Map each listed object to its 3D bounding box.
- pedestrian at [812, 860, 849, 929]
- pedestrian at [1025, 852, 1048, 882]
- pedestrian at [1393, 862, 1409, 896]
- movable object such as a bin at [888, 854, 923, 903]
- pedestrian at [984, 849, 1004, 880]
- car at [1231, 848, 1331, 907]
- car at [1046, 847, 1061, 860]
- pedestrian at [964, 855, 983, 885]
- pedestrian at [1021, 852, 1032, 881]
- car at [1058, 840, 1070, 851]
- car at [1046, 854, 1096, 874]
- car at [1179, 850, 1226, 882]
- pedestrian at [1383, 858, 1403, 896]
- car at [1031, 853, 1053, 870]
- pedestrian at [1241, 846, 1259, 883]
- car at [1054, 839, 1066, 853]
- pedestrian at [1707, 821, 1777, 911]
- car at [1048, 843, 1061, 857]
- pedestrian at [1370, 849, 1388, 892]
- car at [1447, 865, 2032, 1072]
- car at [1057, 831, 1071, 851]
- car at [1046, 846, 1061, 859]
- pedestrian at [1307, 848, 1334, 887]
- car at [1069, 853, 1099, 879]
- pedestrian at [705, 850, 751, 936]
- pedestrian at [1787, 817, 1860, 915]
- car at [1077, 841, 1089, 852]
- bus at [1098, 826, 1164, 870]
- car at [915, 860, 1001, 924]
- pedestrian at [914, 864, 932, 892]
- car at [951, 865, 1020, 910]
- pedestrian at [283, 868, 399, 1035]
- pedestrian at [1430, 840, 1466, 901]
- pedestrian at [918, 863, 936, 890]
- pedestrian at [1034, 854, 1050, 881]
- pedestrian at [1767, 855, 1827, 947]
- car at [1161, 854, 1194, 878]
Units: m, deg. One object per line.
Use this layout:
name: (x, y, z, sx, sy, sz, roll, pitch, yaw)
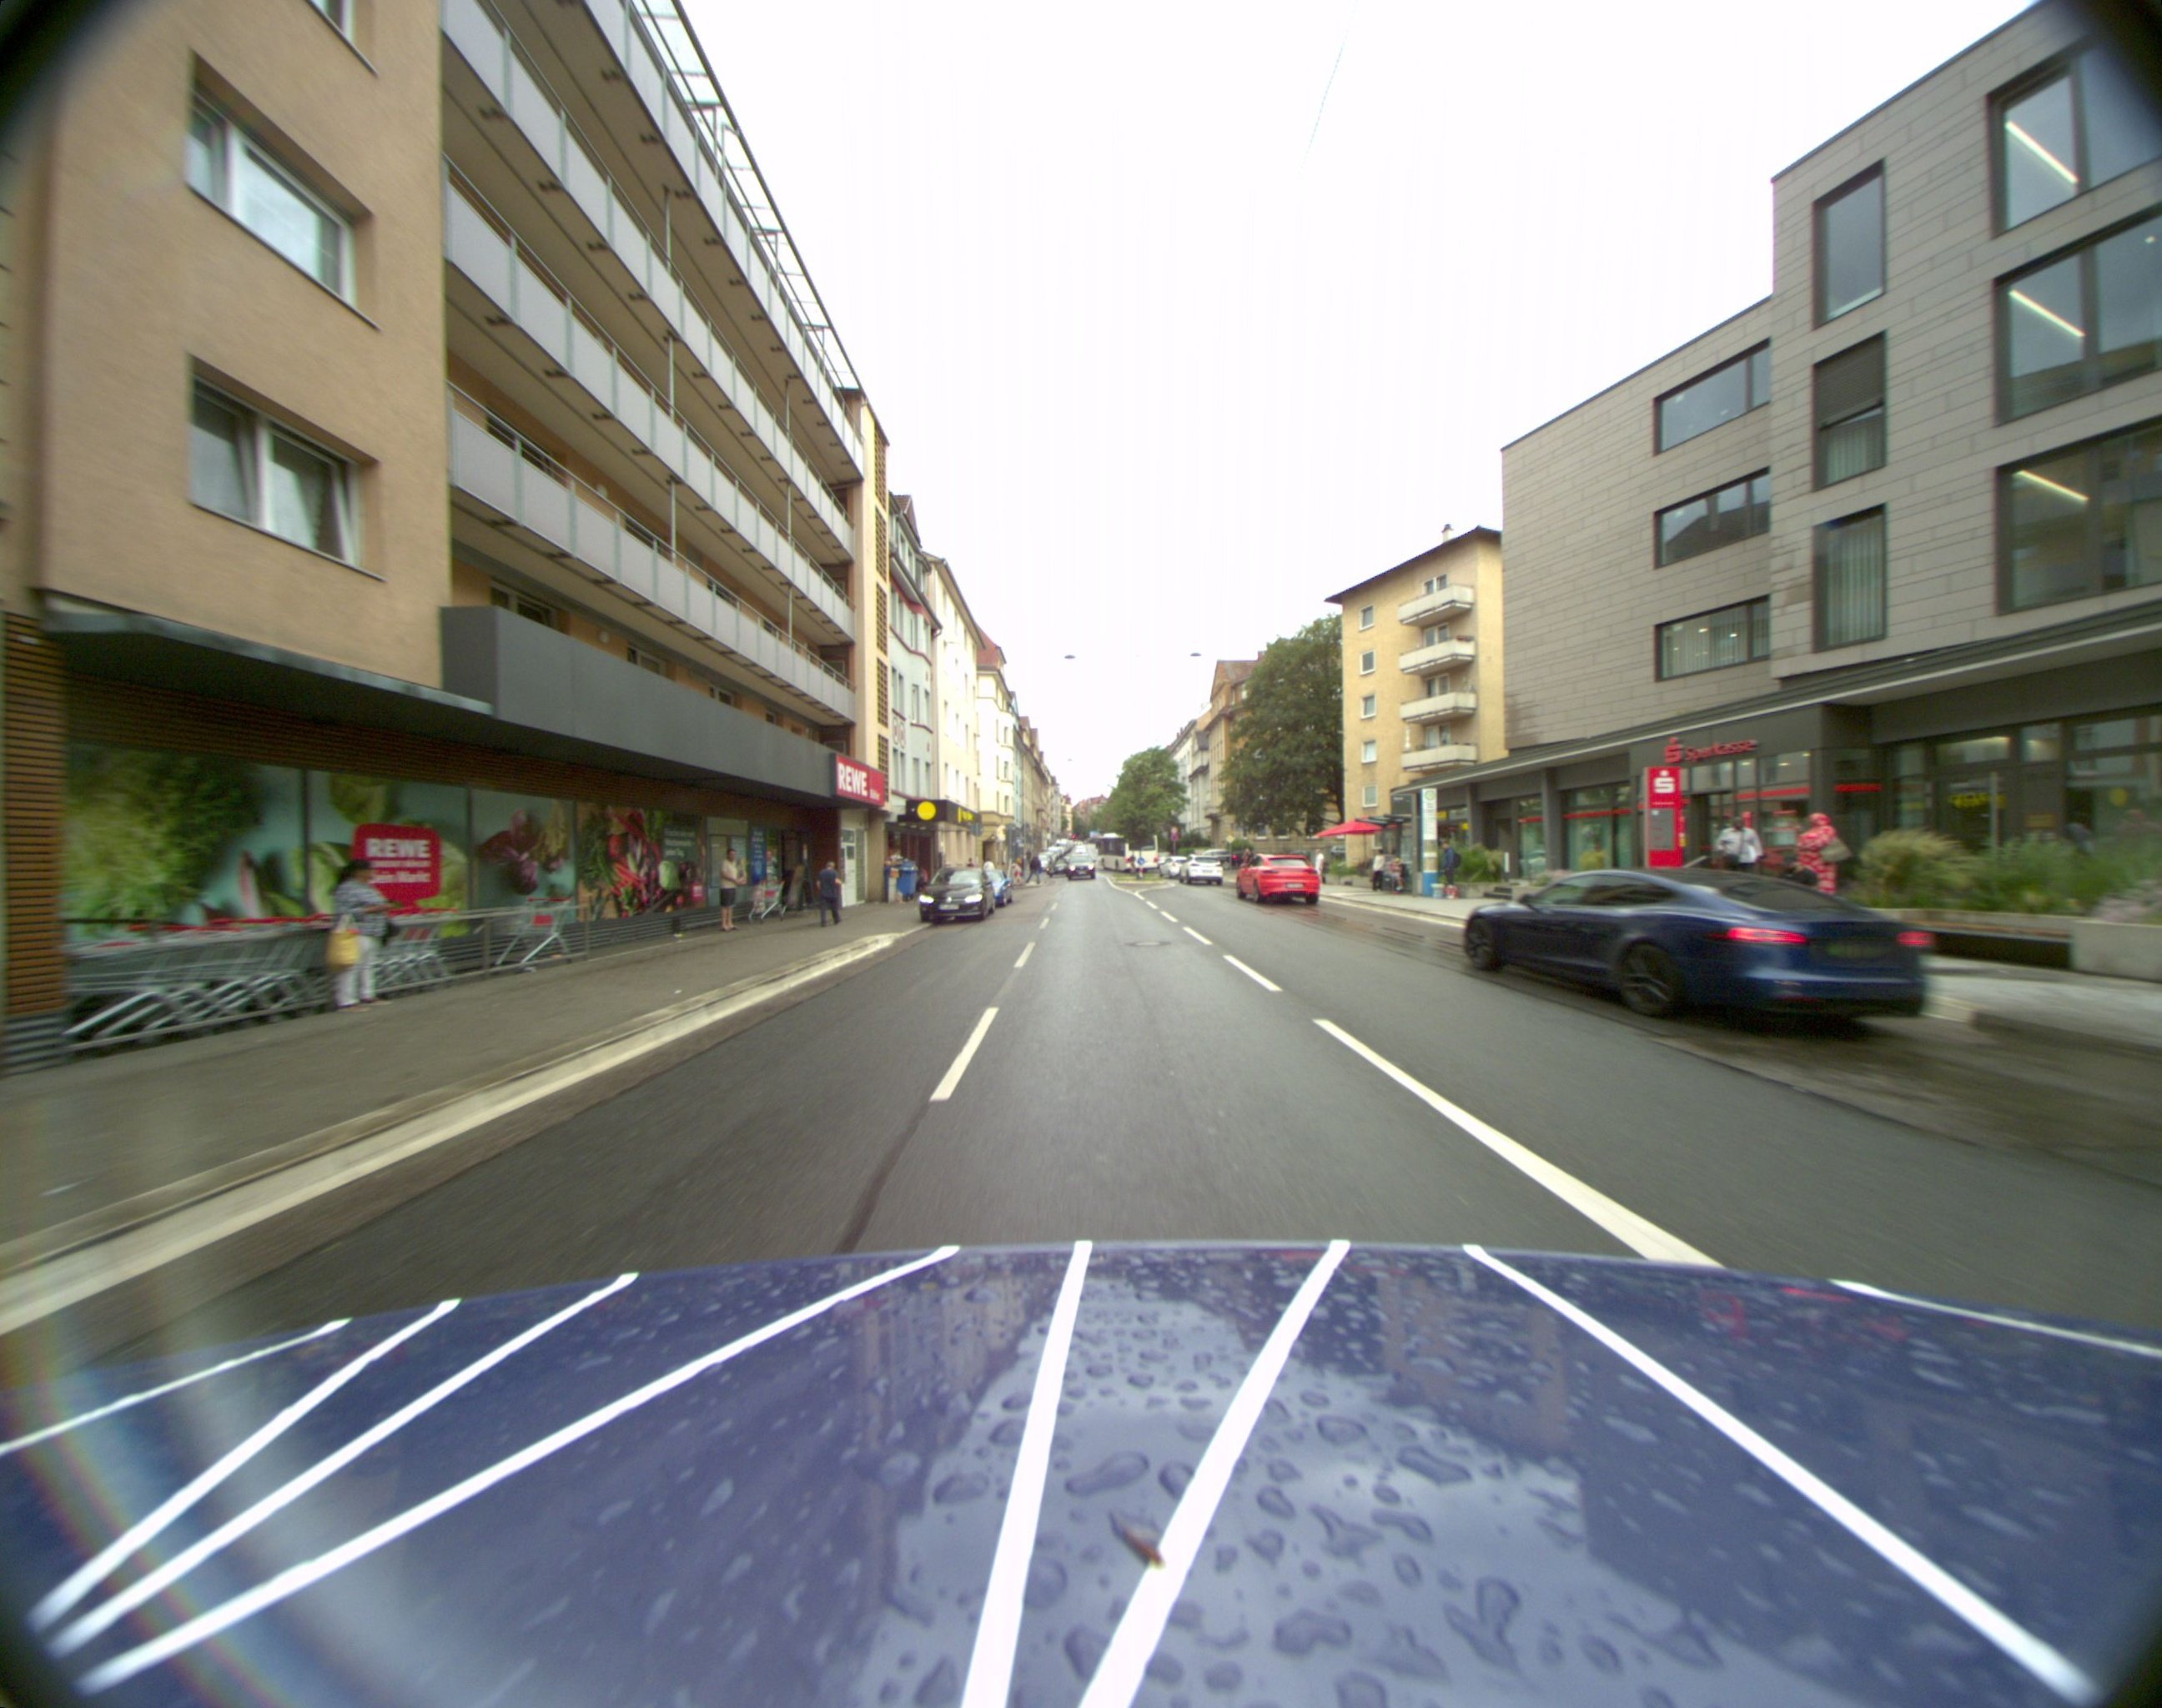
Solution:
pedestrian: (-6.104, 0.970, 18.553, 0.627, 1.642, 0.749, 0, 1, 2)
pedestrian: (-2.591, 0.738, 44.506, 1.061, 1.738, 0.855, 1, 1, 21)
pedestrian: (10.897, 0.846, 25.883, 0.392, 1.110, 0.386, -1, 1, 0)
movable object such as a bin: (-6.579, 0.897, 28.560, 1.002, 1.783, 1.296, -1, 1, -2)
pedestrian: (-4.761, 0.554, 41.446, 0.701, 1.637, 0.784, 2, 1, 35)
car: (6.709, 0.708, 26.138, 2.111, 1.754, 5.059, 0, 1, 0)
car: (-3.458, -0.063, 95.934, 1.733, 1.486, 3.550, -2, 1, -1)
pedestrian: (-5.929, 0.860, 41.880, 0.701, 1.637, 0.784, 2, 1, 35)
pedestrian: (-3.328, 0.741, 46.394, 0.611, 1.738, 0.698, 1, 1, 1)
car: (-2.916, -1.546, 133.967, 1.999, 1.871, 3.999, -2, 1, -1)
car: (-0.725, 0.774, 57.946, 1.806, 1.412, 4.008, -2, 0, 35)
car: (6.638, 0.619, 41.788, 1.900, 1.564, 4.124, 1, 1, 0)
pedestrian: (10.822, 0.793, 26.368, 0.469, 1.269, 0.549, -1, 1, 0)
car: (-3.667, 0.676, 71.736, 1.856, 1.456, 4.203, -2, 1, -1)
pedestrian: (9.406, 0.567, 42.294, 0.703, 2.002, 0.782, -2, 1, -4)
car: (-3.138, -1.198, 112.868, 1.719, 1.871, 3.907, -2, 1, -1)
pedestrian: (12.727, 0.222, 14.653, 0.715, 1.669, 0.713, -1, 1, 0)
car: (-3.657, -0.540, 106.314, 1.733, 1.887, 3.550, -2, 1, -1)
pedestrian: (10.941, 0.597, 27.892, 0.438, 1.540, 0.533, -1, 1, -1)
car: (6.214, 0.910, 8.246, 1.960, 1.503, 4.911, 1, 0, -2)
car: (-3.360, -2.511, 148.879, 2.554, 3.613, 9.048, -2, 1, -1)
car: (-3.213, -0.211, 89.649, 1.733, 1.486, 3.550, -2, 1, -1)
pedestrian: (10.829, 0.597, 34.409, 0.793, 1.699, 0.761, -4, 1, -25)
car: (0.182, 0.787, 50.546, 1.856, 1.646, 4.205, -1, 0, 0)
pedestrian: (-7.894, 0.855, 16.999, 0.597, 1.848, 0.727, -1, 1, 4)
pedestrian: (13.104, 0.204, 13.428, 0.711, 1.669, 0.801, -1, 1, 28)
car: (0.346, -1.342, 129.160, 1.796, 1.768, 3.902, -2, 1, -1)
bus: (4.040, -0.592, 64.881, 2.815, 3.228, 11.948, 3, 1, -10)
car: (-3.367, 1.007, 21.563, 1.734, 1.538, 3.981, 0, 1, 1)
pedestrian: (-7.341, 1.114, 35.269, 0.624, 1.251, 0.659, 1, 1, 8)
car: (-3.317, 1.141, 27.060, 1.738, 1.302, 3.767, -3, 0, 2)
pedestrian: (-7.362, 0.931, 7.588, 0.563, 1.563, 0.626, -2, 1, -16)
pedestrian: (11.195, 0.504, 23.196, 0.591, 1.809, 0.870, -1, 1, -8)
pedestrian: (-7.364, 1.073, 36.274, 0.703, 1.251, 0.658, 1, 1, 0)
pedestrian: (-2.410, 0.834, 47.047, 0.791, 1.656, 0.699, 1, 1, 15)
pedestrian: (11.452, 0.729, 12.178, 0.590, 1.412, 0.726, -1, 1, 35)
car: (6.309, 0.758, 50.029, 1.619, 1.455, 3.805, 2, 1, 0)
